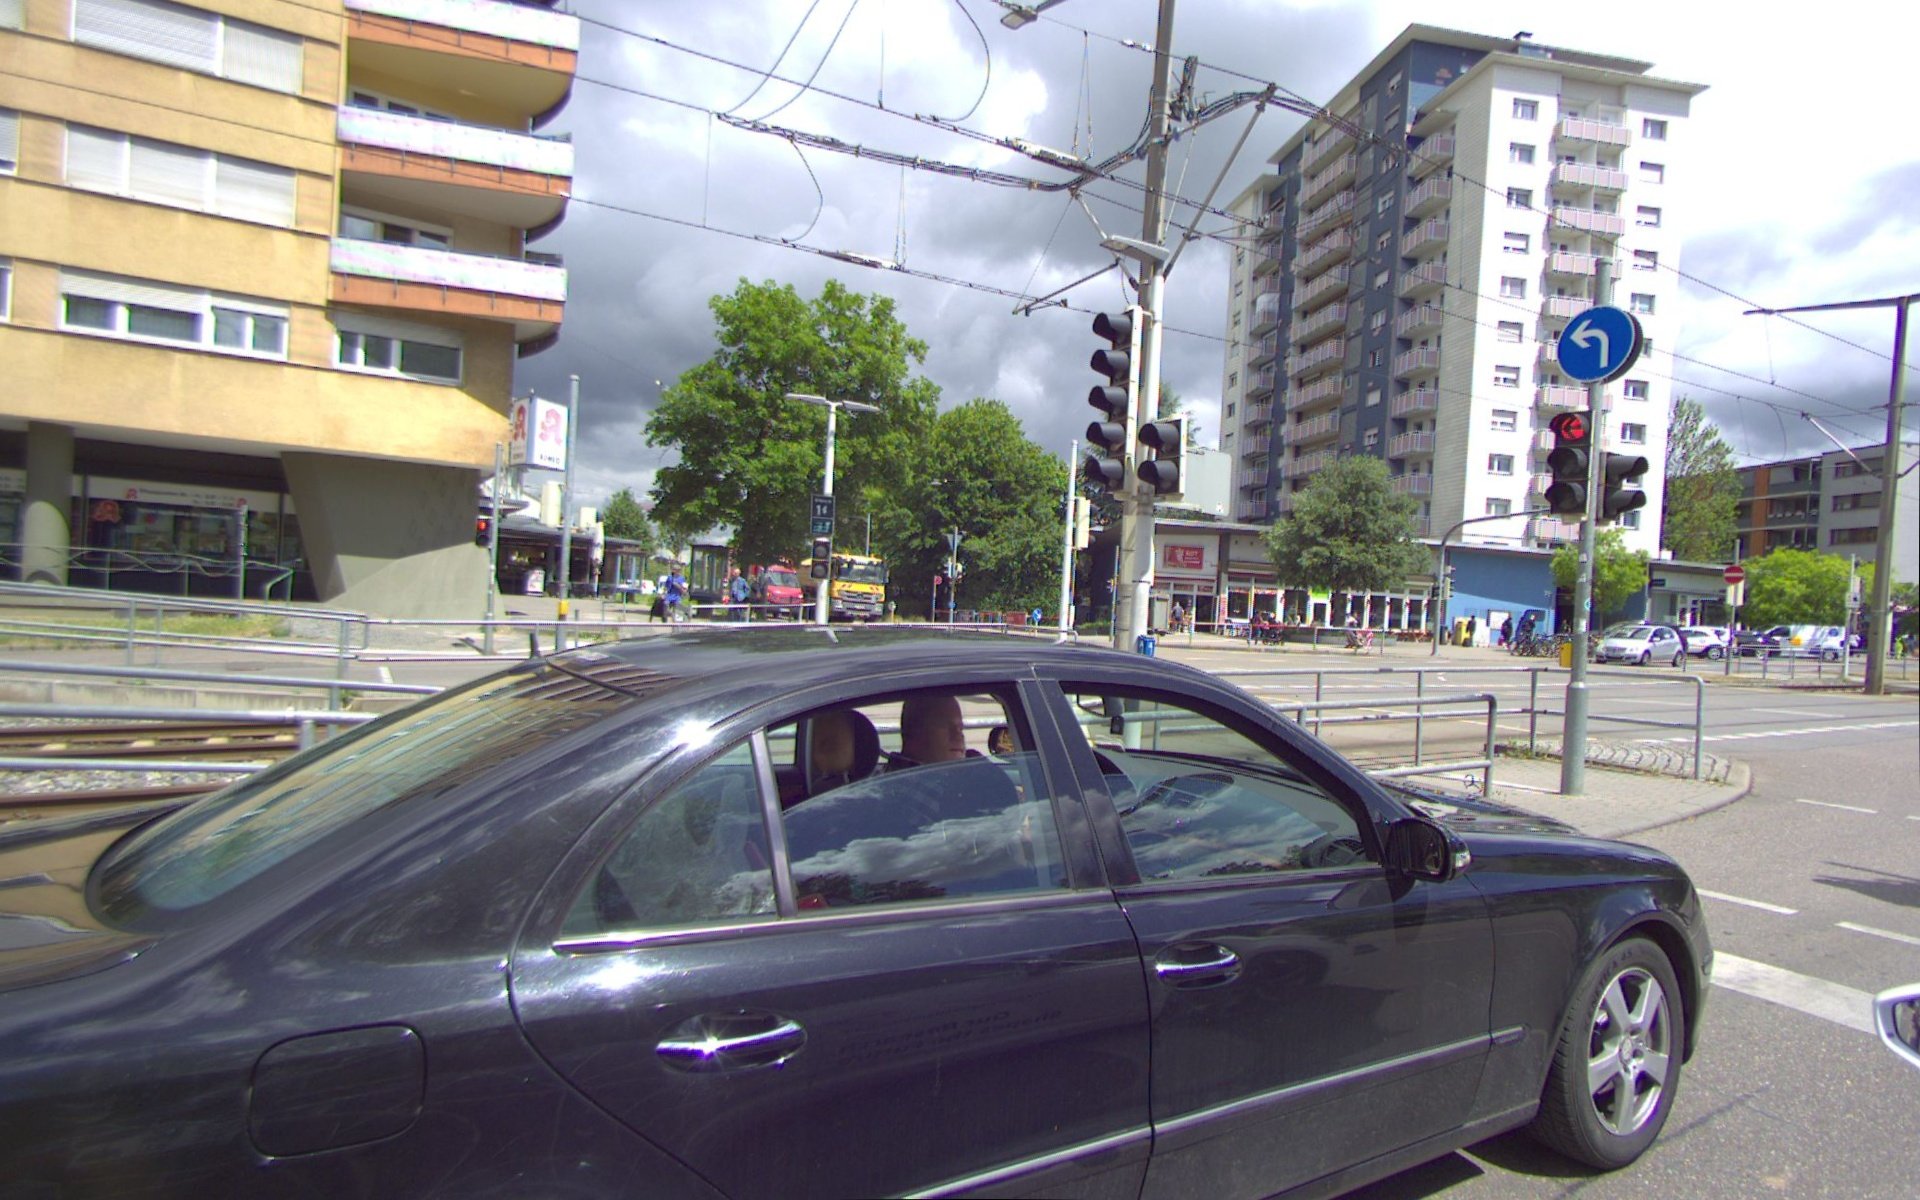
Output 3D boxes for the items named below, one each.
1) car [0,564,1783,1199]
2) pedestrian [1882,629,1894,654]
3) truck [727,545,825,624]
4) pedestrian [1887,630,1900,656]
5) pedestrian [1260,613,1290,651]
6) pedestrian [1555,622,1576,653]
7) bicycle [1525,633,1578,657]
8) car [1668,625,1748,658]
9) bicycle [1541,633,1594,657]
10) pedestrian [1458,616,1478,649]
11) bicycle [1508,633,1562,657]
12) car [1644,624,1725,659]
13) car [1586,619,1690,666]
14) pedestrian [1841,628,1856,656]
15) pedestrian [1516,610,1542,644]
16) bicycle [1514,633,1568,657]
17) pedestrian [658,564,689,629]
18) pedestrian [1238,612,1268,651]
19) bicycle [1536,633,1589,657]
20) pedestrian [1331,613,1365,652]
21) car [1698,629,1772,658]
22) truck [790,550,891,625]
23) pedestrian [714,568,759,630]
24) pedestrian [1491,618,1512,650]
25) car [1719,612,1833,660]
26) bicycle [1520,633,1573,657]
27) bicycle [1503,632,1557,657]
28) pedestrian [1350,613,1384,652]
[{"bbox_3d":[0.105,0.739,2.642,4.491,1.481,1.720,2,0,-30],"label":"car"},{"bbox_3d":[64.895,2.888,70.245,0.401,1.739,0.542,1,0,-39],"label":"pedestrian"},{"bbox_3d":[-8.888,-0.682,47.564,2.692,3.320,8.876,2,0,-23],"label":"truck"},{"bbox_3d":[63.487,2.888,68.284,0.663,1.739,0.542,1,0,-40],"label":"pedestrian"},{"bbox_3d":[14.326,1.448,45.681,0.977,1.681,0.969,2,-1,-4],"label":"pedestrian"},{"bbox_3d":[32.096,1.989,53.276,0.694,1.637,0.759,1,0,-44],"label":"pedestrian"},{"bbox_3d":[25.583,1.938,43.475,0.490,0.947,1.933,2,0,-35],"label":"bicycle"},{"bbox_3d":[40.530,2.203,54.538,1.921,1.558,4.220,2,0,13],"label":"car"},{"bbox_3d":[26.513,1.970,43.842,0.490,0.947,1.933,2,0,-35],"label":"bicycle"},{"bbox_3d":[26.310,1.669,52.021,0.759,1.637,0.694,2,0,44],"label":"pedestrian"},{"bbox_3d":[24.393,1.894,42.626,0.490,0.947,1.933,2,0,-35],"label":"bicycle"},{"bbox_3d":[37.901,2.143,52.665,1.921,1.591,4.220,2,0,13],"label":"car"},{"bbox_3d":[26.904,1.689,39.864,3.827,1.715,1.928,2,0,-30],"label":"car"},{"bbox_3d":[56.004,2.667,63.321,0.400,1.739,0.544,1,0,-30],"label":"pedestrian"},{"bbox_3d":[33.092,1.549,58.394,1.203,1.942,0.858,1,1,-37],"label":"pedestrian"},{"bbox_3d":[24.803,1.909,42.916,0.490,0.947,1.933,2,0,-35],"label":"bicycle"},{"bbox_3d":[-7.475,-0.093,26.219,0.753,1.638,0.777,1,4,-17],"label":"pedestrian"},{"bbox_3d":[13.246,1.412,45.409,0.977,1.681,0.969,2,-1,-4],"label":"pedestrian"},{"bbox_3d":[26.116,1.955,43.560,0.490,0.947,1.933,2,0,-35],"label":"bicycle"},{"bbox_3d":[17.296,1.434,44.771,1.078,1.681,0.947,2,-1,-4],"label":"pedestrian"},{"bbox_3d":[43.221,2.387,56.133,1.754,1.439,4.219,2,0,15],"label":"car"},{"bbox_3d":[-5.840,-0.559,47.971,2.733,3.244,7.442,2,0,-23],"label":"truck"},{"bbox_3d":[-6.246,-0.017,28.126,0.750,1.636,0.780,7,1,17],"label":"pedestrian"},{"bbox_3d":[28.600,1.796,53.023,0.693,1.637,0.760,1,0,-43],"label":"pedestrian"},{"bbox_3d":[47.511,2.010,58.742,2.776,2.511,6.724,2,0,17],"label":"car"},{"bbox_3d":[25.188,1.923,43.190,0.490,0.947,1.933,2,0,-35],"label":"bicycle"},{"bbox_3d":[24.022,1.881,42.348,0.490,0.947,1.933,2,0,-35],"label":"bicycle"},{"bbox_3d":[18.374,1.452,45.343,1.078,1.681,0.947,2,-1,-4],"label":"pedestrian"}]
